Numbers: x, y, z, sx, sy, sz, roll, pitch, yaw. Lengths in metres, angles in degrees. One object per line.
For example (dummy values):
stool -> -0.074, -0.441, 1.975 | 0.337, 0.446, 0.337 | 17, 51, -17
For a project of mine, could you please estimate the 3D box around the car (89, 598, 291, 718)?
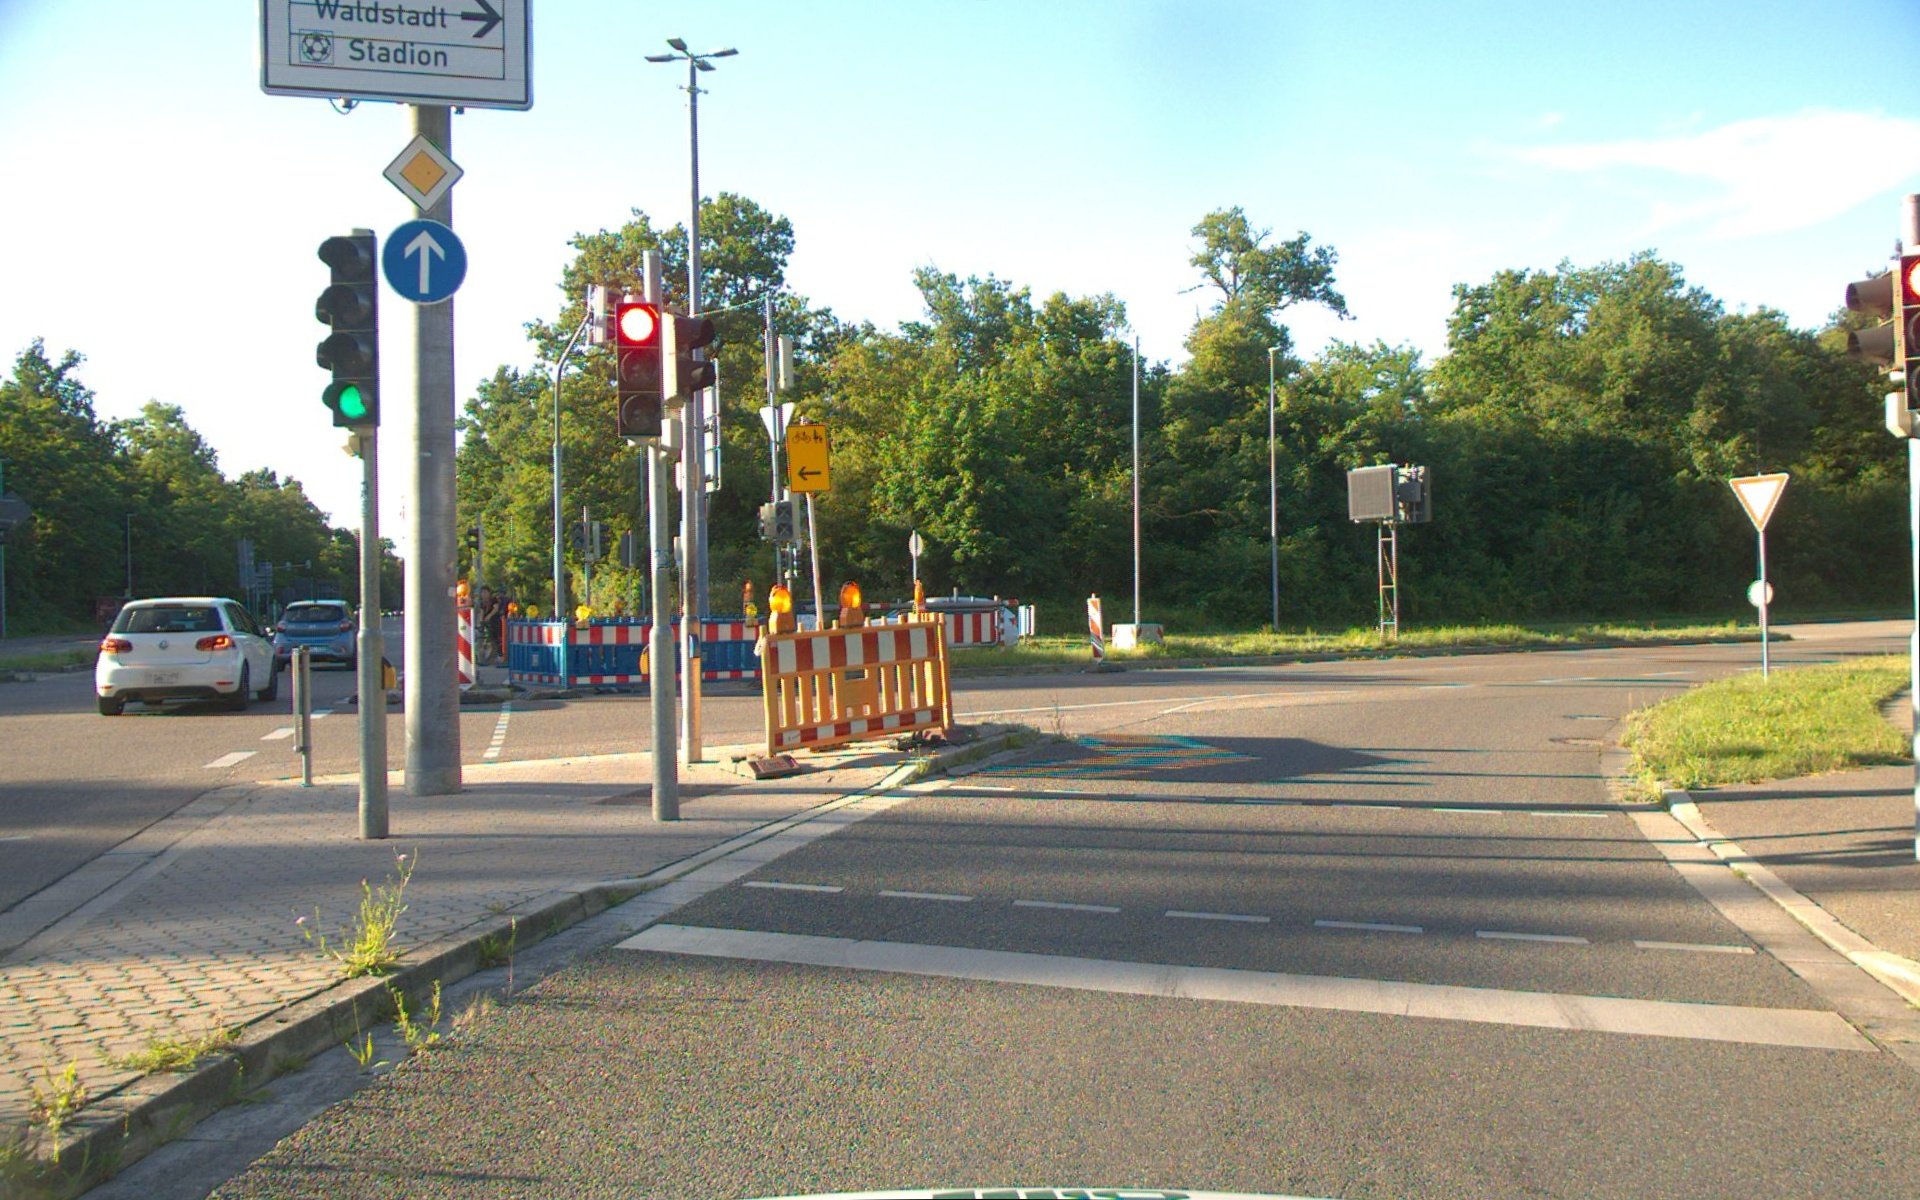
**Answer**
car -> -10.360, 0.720, 22.541 | 1.909, 1.439, 3.981 | -1, 0, -17

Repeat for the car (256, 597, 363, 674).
car -> -14.410, 0.747, 36.842 | 1.963, 1.563, 3.979 | -1, 0, -18

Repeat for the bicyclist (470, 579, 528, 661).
bicyclist -> -11.229, 0.469, 40.269 | 0.952, 1.963, 1.009 | 0, 0, 43

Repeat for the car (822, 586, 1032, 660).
car -> -0.752, 0.511, 39.488 | 4.780, 1.608, 1.974 | -1, 0, -36

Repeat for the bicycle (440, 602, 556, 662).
bicycle -> -11.233, 0.754, 40.283 | 0.952, 1.407, 2.623 | 0, 0, 43
